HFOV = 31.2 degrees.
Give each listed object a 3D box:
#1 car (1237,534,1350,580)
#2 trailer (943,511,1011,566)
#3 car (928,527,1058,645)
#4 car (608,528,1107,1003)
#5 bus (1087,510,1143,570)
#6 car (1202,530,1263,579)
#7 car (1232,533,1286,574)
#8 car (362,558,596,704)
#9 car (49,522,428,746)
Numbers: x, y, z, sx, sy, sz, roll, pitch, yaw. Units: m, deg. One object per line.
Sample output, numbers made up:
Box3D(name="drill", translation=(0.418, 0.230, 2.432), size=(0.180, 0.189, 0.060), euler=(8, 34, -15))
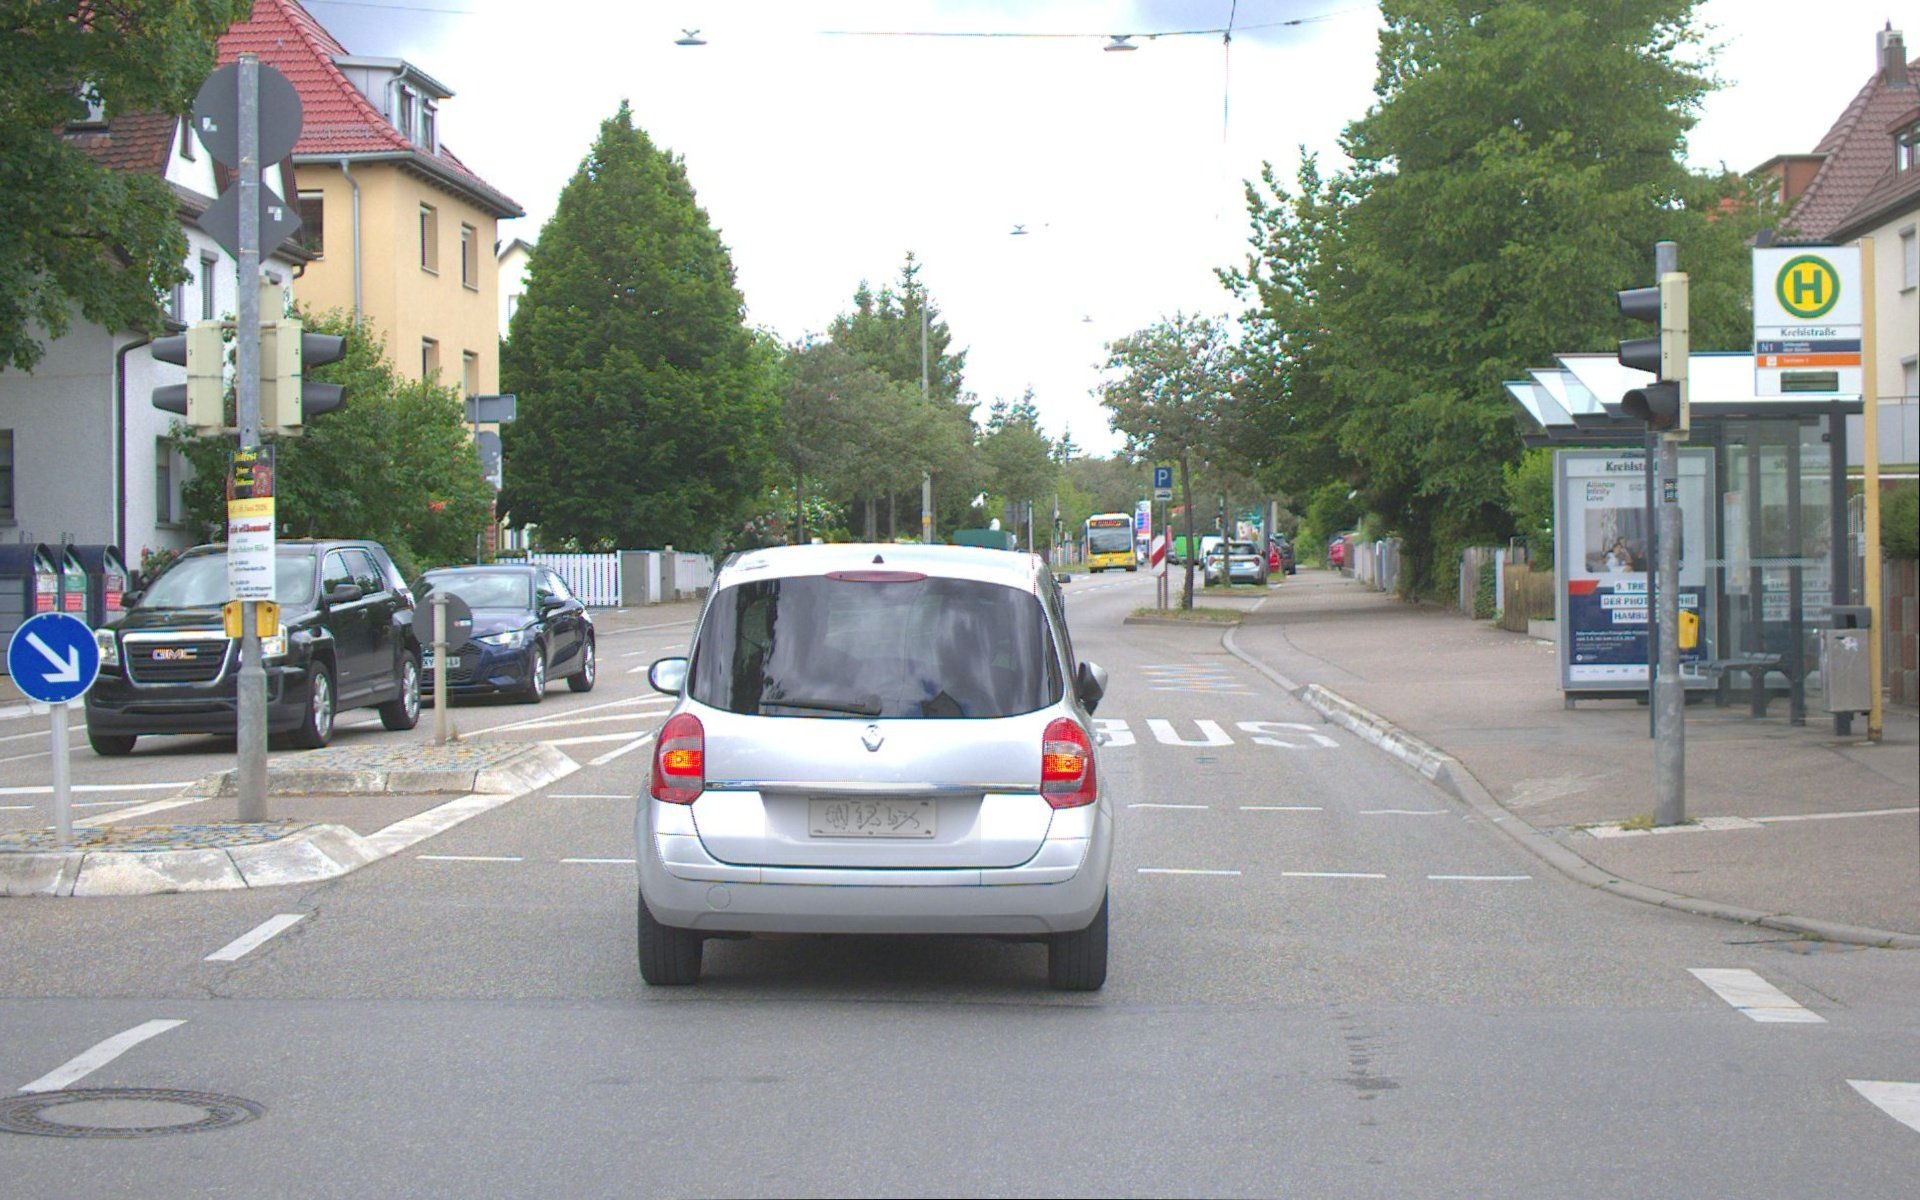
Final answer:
Box3D(name="car", translation=(12.727, -1.637, 131.361), size=(3.987, 1.491, 1.810), euler=(-4, 1, -2))
Box3D(name="trailer", translation=(0.721, -2.486, 140.287), size=(2.312, 2.079, 5.872), euler=(1, 0, 4))
Box3D(name="car", translation=(0.456, -0.218, 51.284), size=(1.829, 1.670, 3.574), euler=(-1, 1, -1))
Box3D(name="car", translation=(-0.406, 0.548, 13.403), size=(1.630, 1.551, 4.000), euler=(1, 0, -2))
Box3D(name="bus", translation=(8.524, -3.264, 187.888), size=(2.632, 3.075, 12.068), euler=(-2, 1, 4))
Box3D(name="car", translation=(7.908, -1.302, 99.534), size=(1.650, 1.378, 3.999), euler=(0, 0, 6))
Box3D(name="car", translation=(10.293, -1.618, 118.291), size=(1.663, 1.388, 3.666), euler=(0, 1, 8))
Box3D(name="car", translation=(-4.959, 0.308, 35.927), size=(1.564, 1.415, 4.130), euler=(-1, 0, 4))
Box3D(name="car", translation=(-5.839, 0.265, 28.395), size=(1.758, 1.629, 4.594), euler=(-2, 0, 5))
